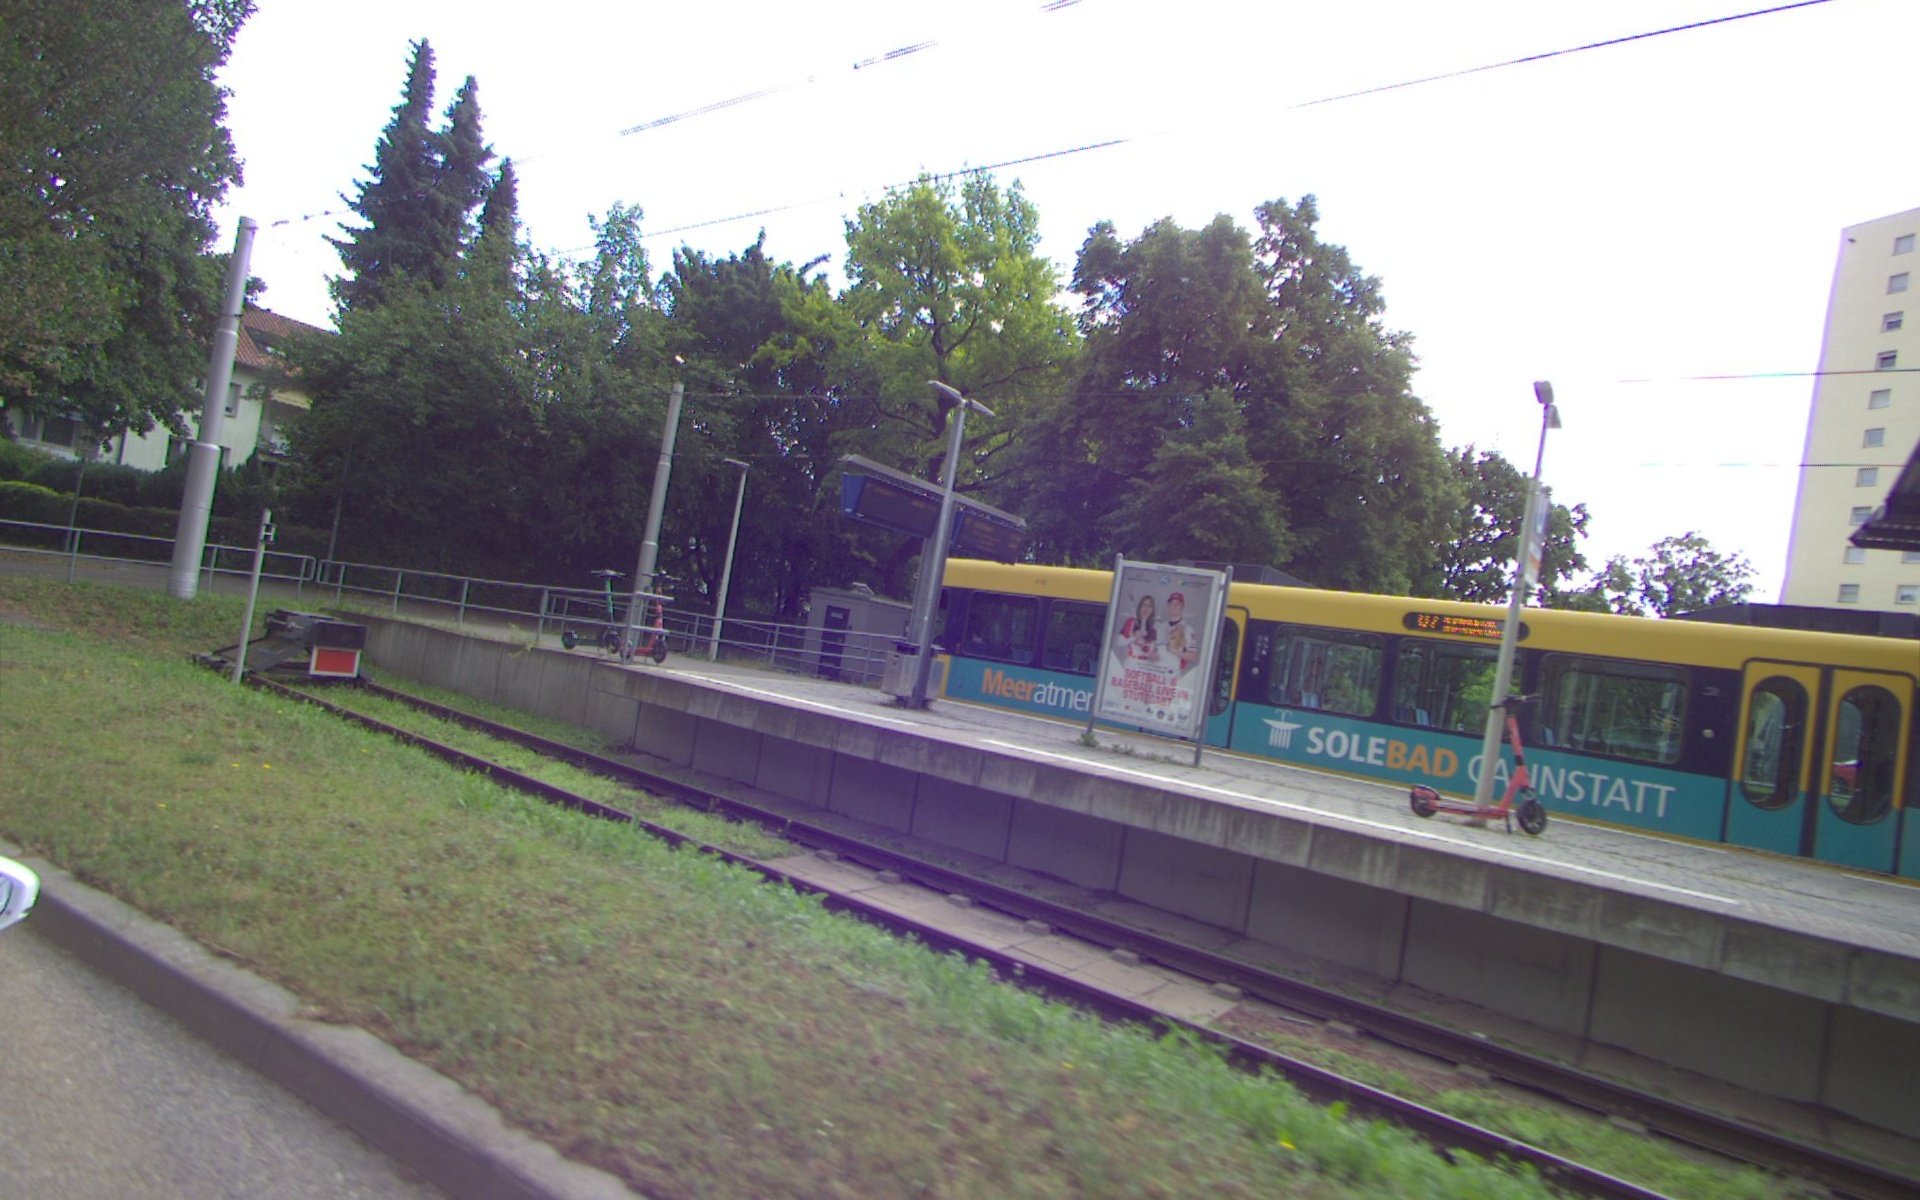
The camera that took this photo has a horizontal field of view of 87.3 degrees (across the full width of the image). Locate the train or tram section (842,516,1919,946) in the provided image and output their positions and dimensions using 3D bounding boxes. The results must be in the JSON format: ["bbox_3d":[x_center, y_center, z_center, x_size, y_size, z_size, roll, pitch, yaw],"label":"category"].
[{"bbox_3d":[6.514,1.357,14.311,19.213,3.626,2.818,7,-4,37],"label":"train or tram section"}]

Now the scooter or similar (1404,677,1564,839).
[{"bbox_3d":[4.802,1.423,9.247,1.128,1.256,0.368,7,-2,37],"label":"scooter or similar"}]

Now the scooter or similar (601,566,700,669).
[{"bbox_3d":[-4.247,0.234,13.776,1.233,1.267,0.431,5,-2,28],"label":"scooter or similar"}]

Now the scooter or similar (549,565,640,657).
[{"bbox_3d":[-5.620,0.164,15.465,1.232,1.267,0.431,5,-2,25],"label":"scooter or similar"}]
